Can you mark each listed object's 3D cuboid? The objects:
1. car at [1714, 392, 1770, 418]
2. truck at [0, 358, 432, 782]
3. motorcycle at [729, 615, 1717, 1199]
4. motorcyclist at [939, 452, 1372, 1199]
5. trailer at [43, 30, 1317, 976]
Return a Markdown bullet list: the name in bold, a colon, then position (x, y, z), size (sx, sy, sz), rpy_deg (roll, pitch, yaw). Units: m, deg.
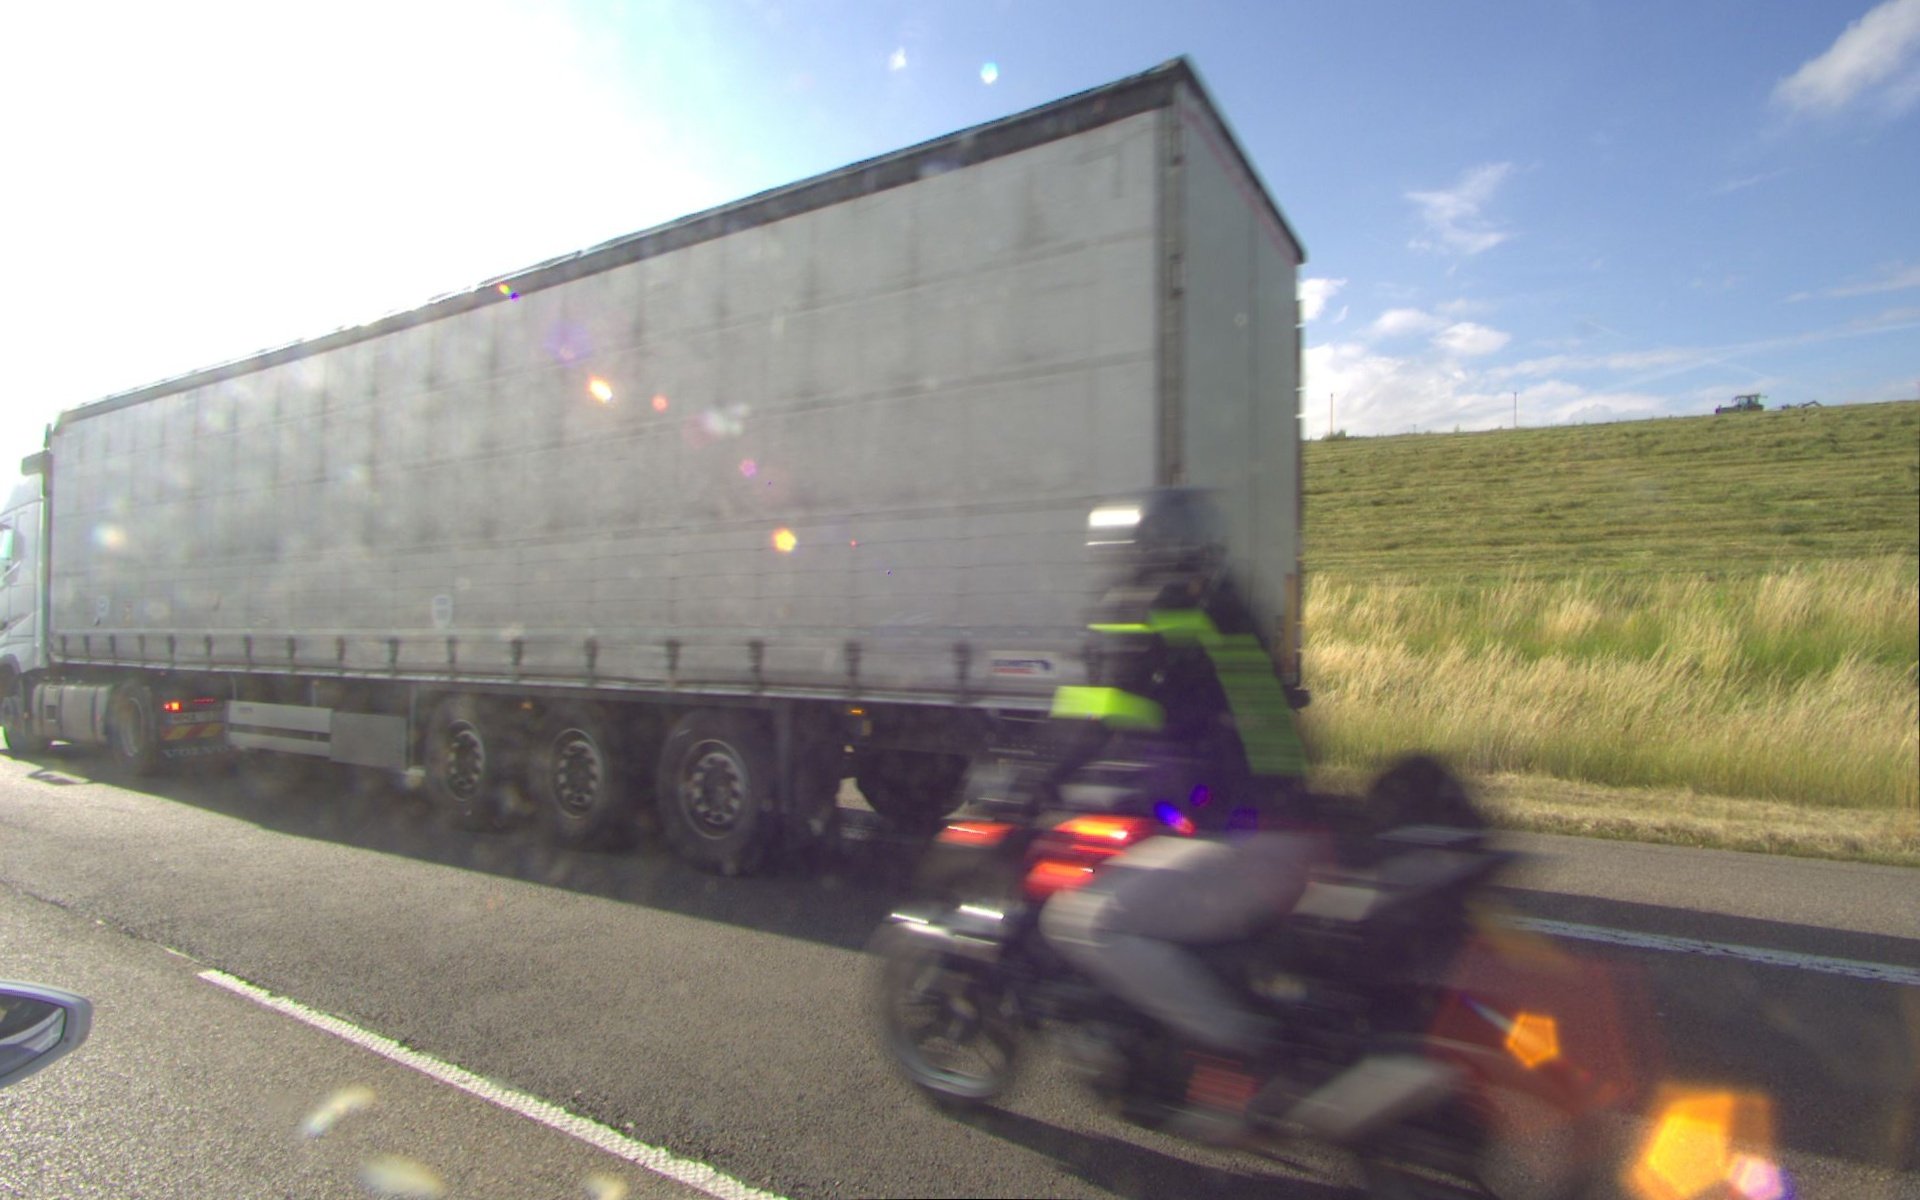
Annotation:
- **car**: position (72.460, -18.036, 92.856), size (3.946, 1.566, 1.699), rpy_deg (-2, -1, 35)
- **truck**: position (-9.507, -0.220, 12.364), size (6.031, 4.093, 2.597), rpy_deg (-1, -1, 32)
- **motorcycle**: position (0.529, 0.795, 2.628), size (2.237, 1.474, 0.894), rpy_deg (-1, -1, 32)
- **motorcyclist**: position (0.548, 0.490, 2.636), size (0.851, 1.549, 0.894), rpy_deg (-1, -1, 32)
- **trailer**: position (-4.072, -0.298, 9.009), size (13.500, 4.093, 2.612), rpy_deg (-1, -1, 32)
